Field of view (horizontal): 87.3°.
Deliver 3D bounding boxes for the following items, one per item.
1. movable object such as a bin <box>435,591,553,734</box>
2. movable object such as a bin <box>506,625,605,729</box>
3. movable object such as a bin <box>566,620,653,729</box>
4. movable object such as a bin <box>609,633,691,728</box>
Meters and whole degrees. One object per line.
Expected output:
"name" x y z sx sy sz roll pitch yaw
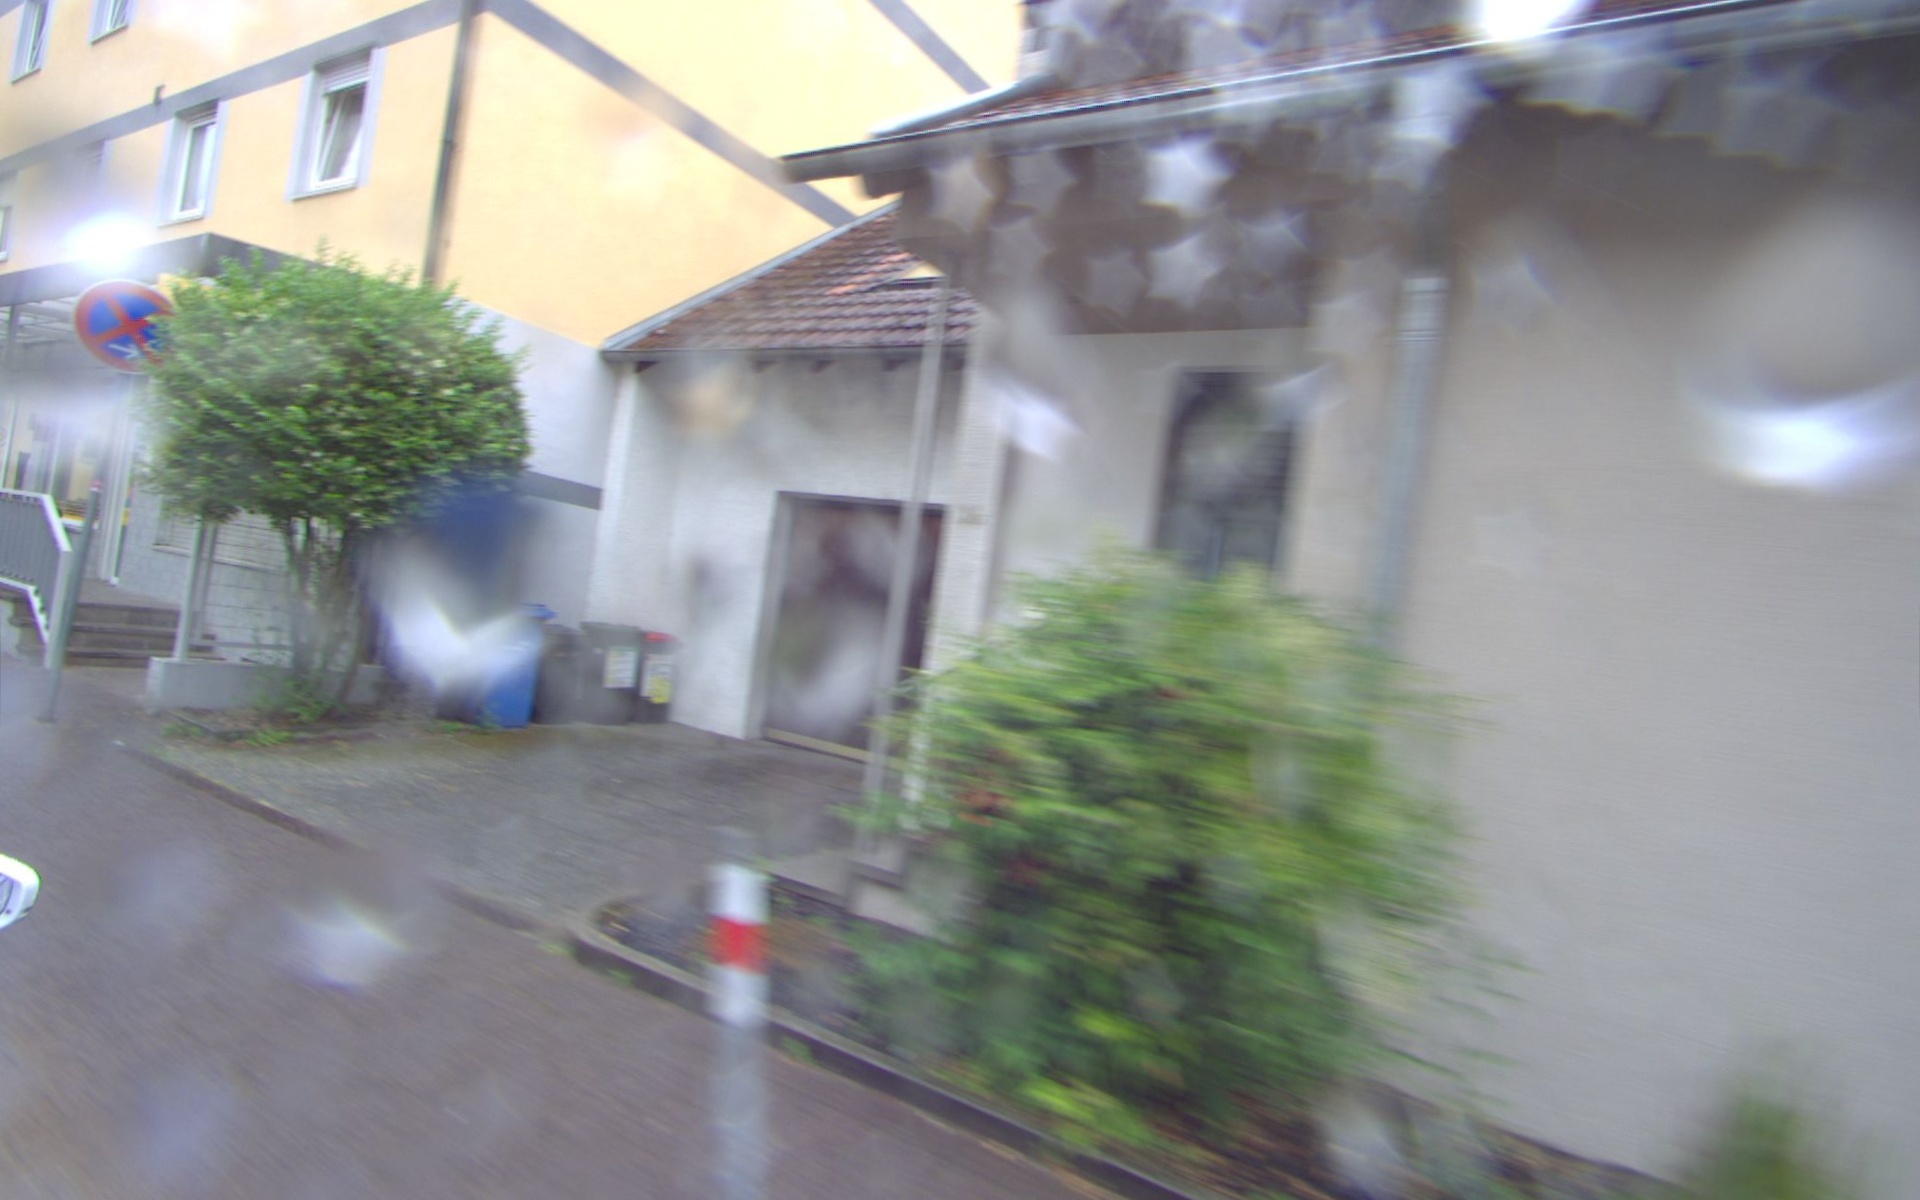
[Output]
"movable object such as a bin" -3.958 0.525 8.542 0.728 1.094 0.509 7 0 36
"movable object such as a bin" -3.639 0.680 9.035 0.728 0.823 0.449 7 2 36
"movable object such as a bin" -3.259 0.693 9.359 0.525 0.932 0.446 7 0 36
"movable object such as a bin" -3.005 0.782 9.767 0.496 0.835 0.465 7 0 35
